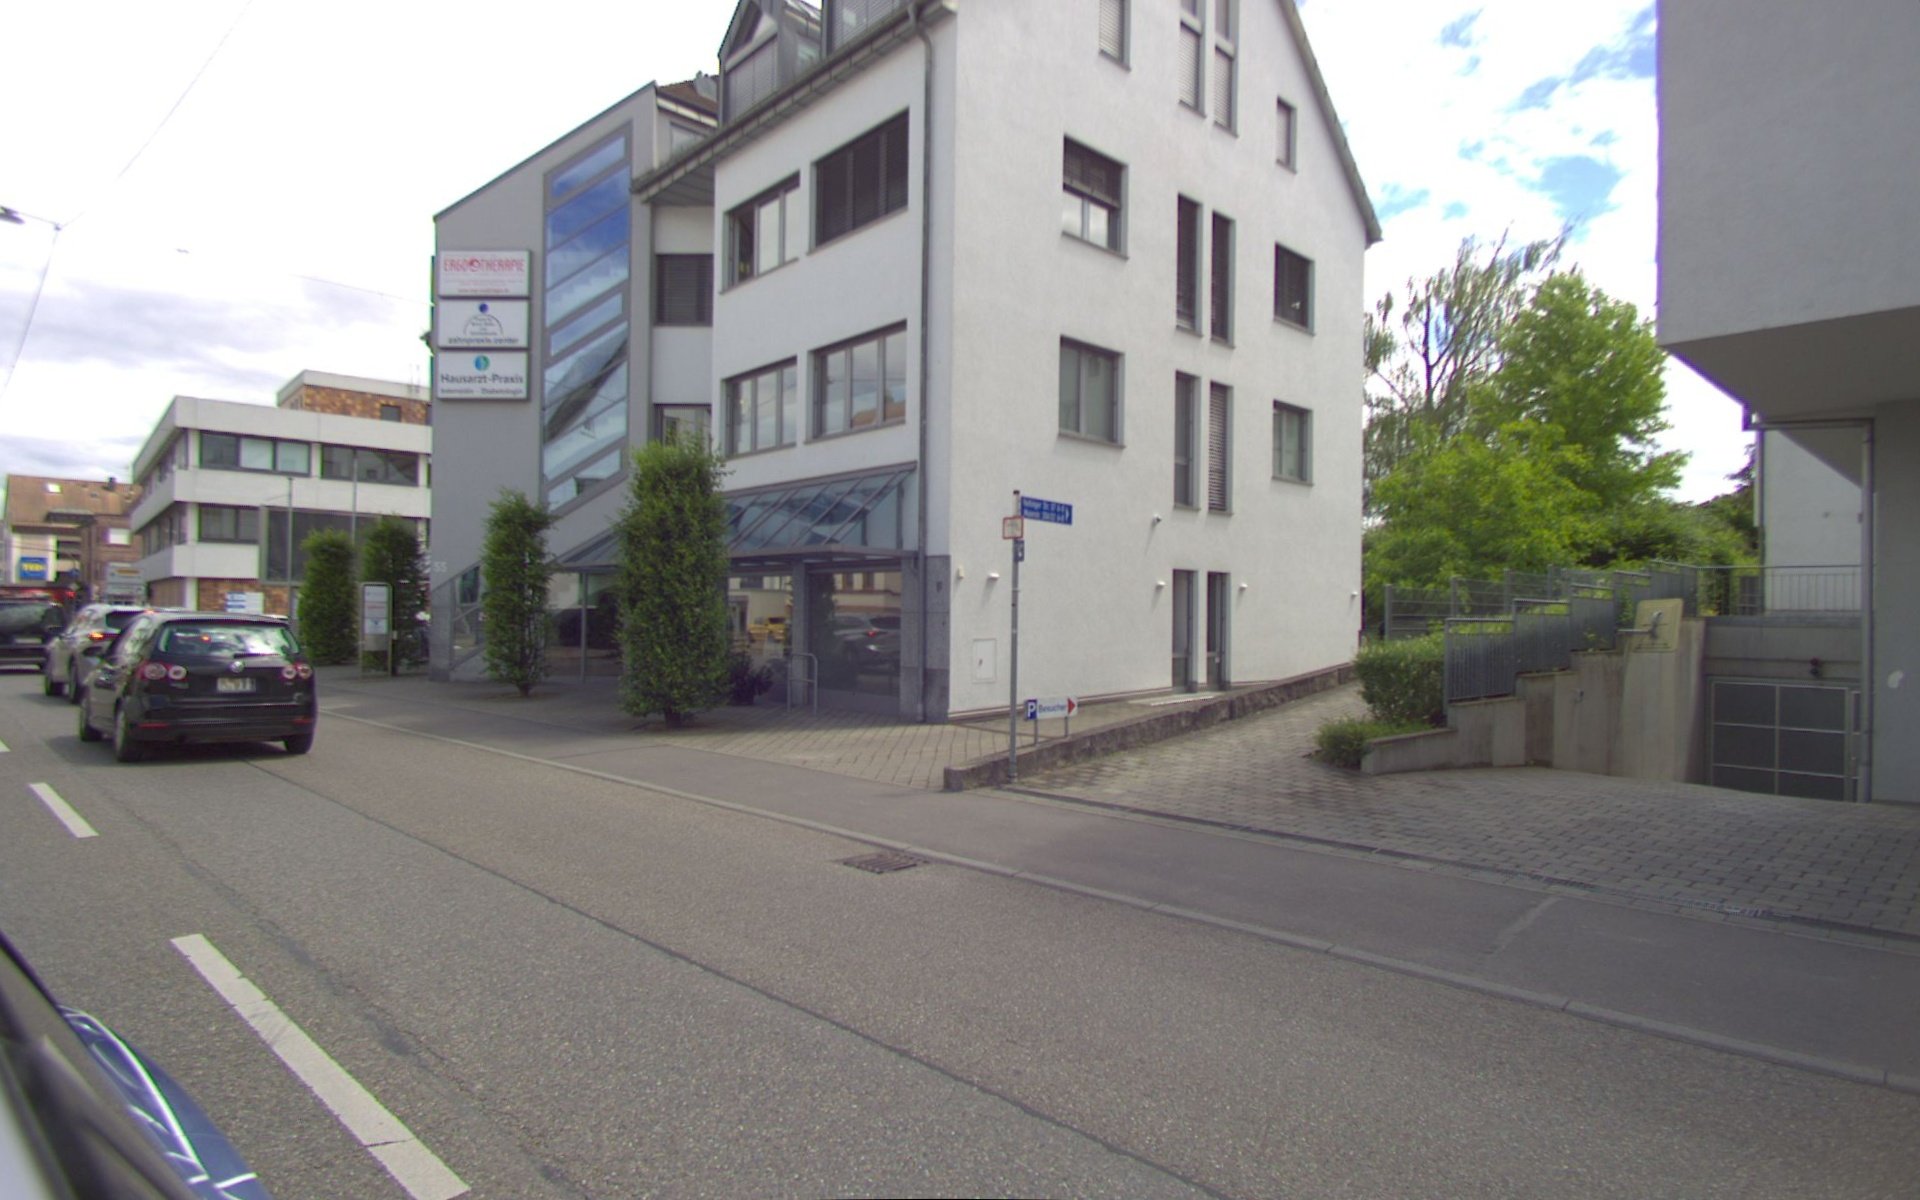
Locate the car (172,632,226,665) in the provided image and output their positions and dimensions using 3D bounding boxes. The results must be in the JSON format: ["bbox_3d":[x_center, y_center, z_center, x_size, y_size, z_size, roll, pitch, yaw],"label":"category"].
[{"bbox_3d":[-35.588,2.244,47.287,1.797,1.338,4.243,0,0,-40],"label":"car"}]

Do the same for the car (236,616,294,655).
[{"bbox_3d":[-33.483,1.702,48.707,1.869,1.710,3.807,4,-3,-40],"label":"car"}]

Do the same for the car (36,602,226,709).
[{"bbox_3d":[-15.500,0.982,18.824,4.795,1.751,1.965,-1,-4,42],"label":"car"}]

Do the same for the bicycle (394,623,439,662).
[{"bbox_3d":[-17.069,1.327,31.777,1.685,1.150,0.636,0,-1,39],"label":"bicycle"}]

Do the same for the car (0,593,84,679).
[{"bbox_3d":[-25.839,0.967,27.754,4.881,2.168,2.088,-1,-3,42],"label":"car"}]

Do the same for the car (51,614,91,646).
[{"bbox_3d":[-53.259,1.764,60.702,1.677,1.790,4.468,0,0,-40],"label":"car"}]

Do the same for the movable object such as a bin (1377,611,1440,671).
[{"bbox_3d":[13.592,1.216,30.678,1.508,1.744,1.072,0,-1,42],"label":"movable object such as a bin"}]

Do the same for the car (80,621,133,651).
[{"bbox_3d":[-43.722,1.813,51.828,1.814,1.437,4.222,0,0,-43],"label":"car"}]

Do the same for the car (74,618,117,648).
[{"bbox_3d":[-48.522,1.811,56.828,1.782,1.541,4.007,0,0,-40],"label":"car"}]

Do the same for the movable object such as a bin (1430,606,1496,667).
[{"bbox_3d":[14.741,1.037,29.652,1.508,1.744,1.072,0,-1,42],"label":"movable object such as a bin"}]

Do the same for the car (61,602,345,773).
[{"bbox_3d":[-8.698,0.885,11.507,4.037,1.596,1.812,-1,-3,43],"label":"car"}]
